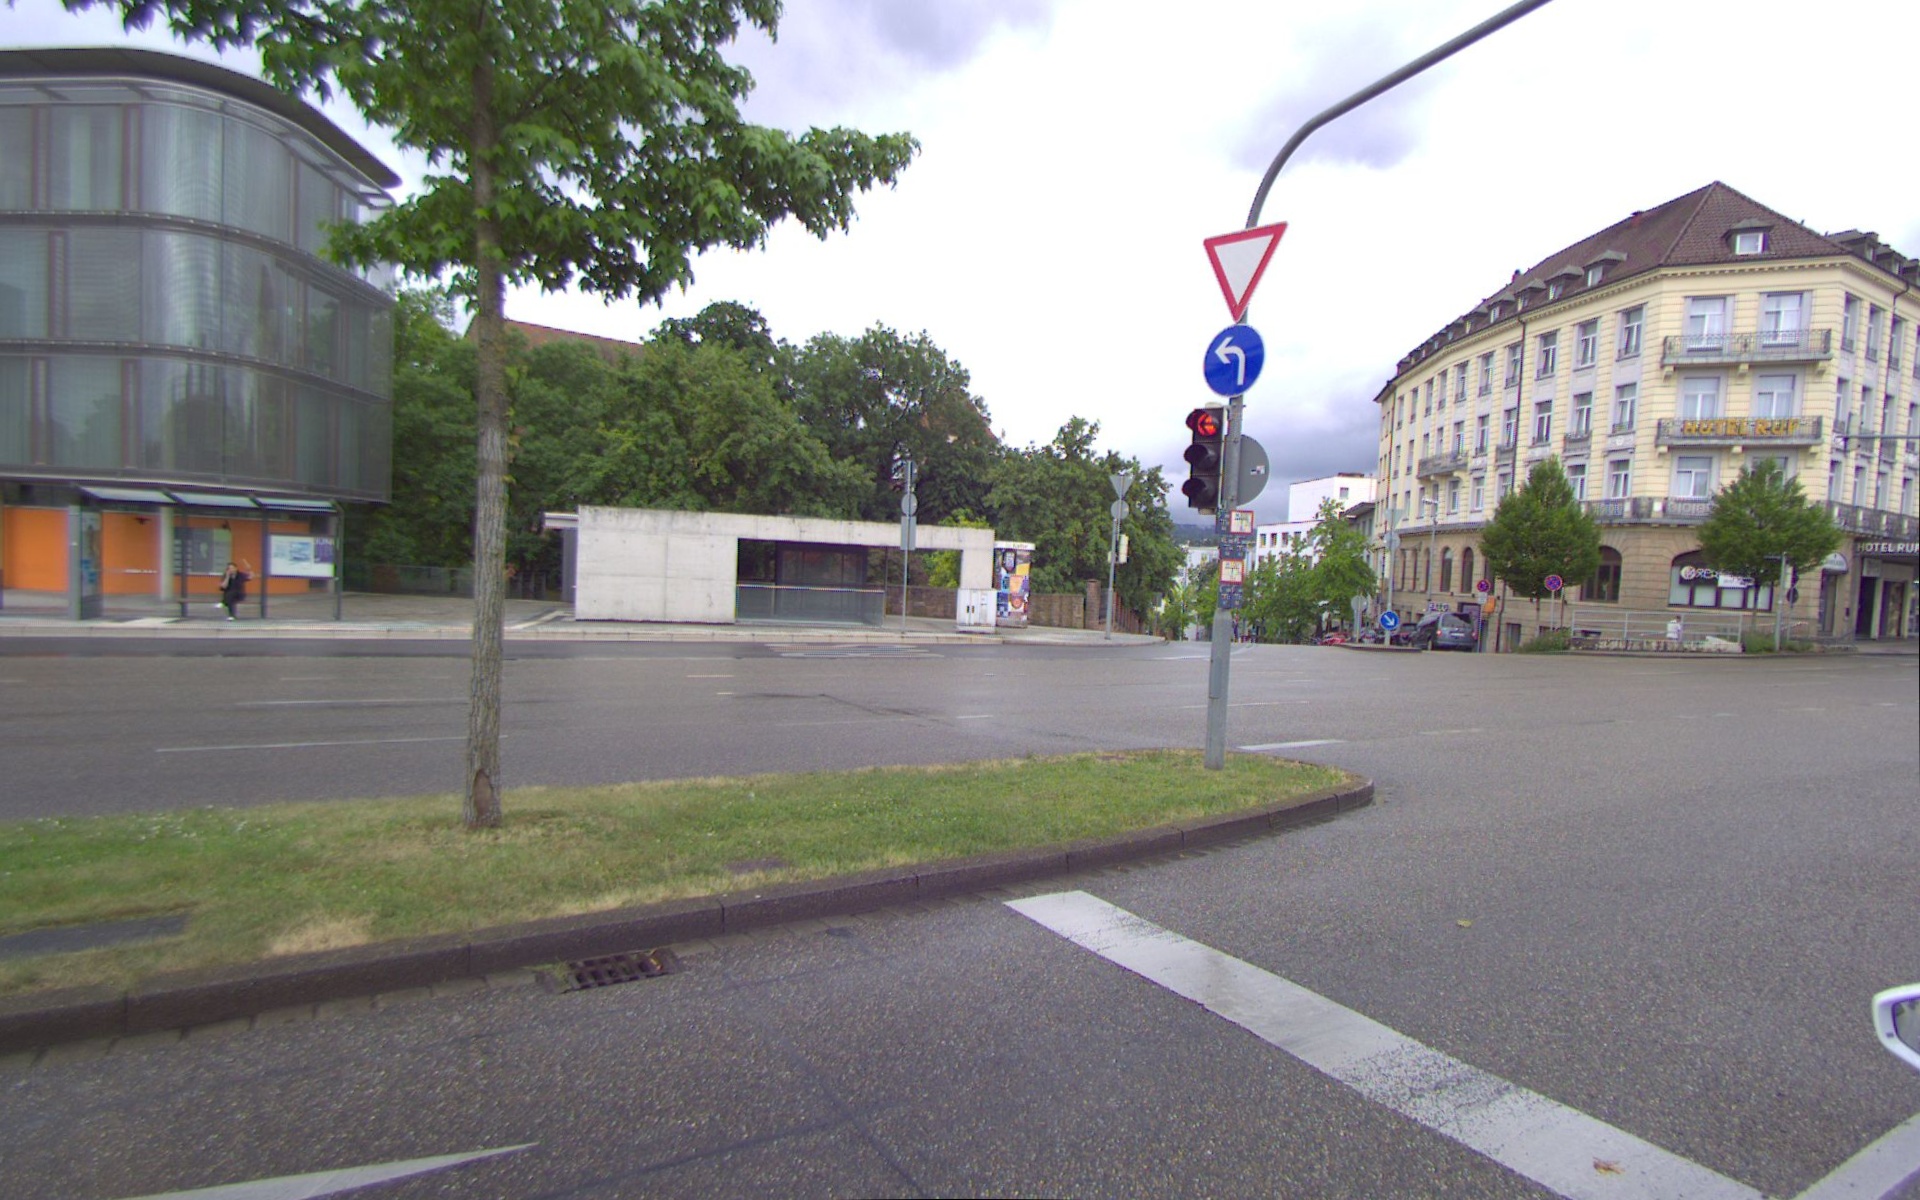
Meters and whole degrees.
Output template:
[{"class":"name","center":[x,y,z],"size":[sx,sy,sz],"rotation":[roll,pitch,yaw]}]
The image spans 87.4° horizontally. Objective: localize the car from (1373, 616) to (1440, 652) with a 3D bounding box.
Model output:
[{"class":"car","center":[22.904,1.722,51.697],"size":[1.959,1.662,4.002],"rotation":[2,0,6]}]

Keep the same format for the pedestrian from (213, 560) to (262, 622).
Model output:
[{"class":"pedestrian","center":[-16.087,-0.188,22.383],"size":[0.780,1.341,0.798],"rotation":[1,1,-28]}]

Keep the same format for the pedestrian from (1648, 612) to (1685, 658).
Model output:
[{"class":"pedestrian","center":[29.927,1.469,42.548],"size":[1.010,1.903,0.859],"rotation":[1,1,-30]}]

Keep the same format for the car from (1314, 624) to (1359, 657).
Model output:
[{"class":"car","center":[23.583,2.483,63.050],"size":[1.741,1.836,3.624],"rotation":[2,1,7]}]

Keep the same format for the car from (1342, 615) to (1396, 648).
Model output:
[{"class":"car","center":[23.160,1.778,56.996],"size":[1.757,1.662,3.916],"rotation":[2,1,6]}]

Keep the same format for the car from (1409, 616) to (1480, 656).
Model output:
[{"class":"car","center":[21.732,1.580,45.191],"size":[1.764,1.589,4.002],"rotation":[2,1,9]}]
